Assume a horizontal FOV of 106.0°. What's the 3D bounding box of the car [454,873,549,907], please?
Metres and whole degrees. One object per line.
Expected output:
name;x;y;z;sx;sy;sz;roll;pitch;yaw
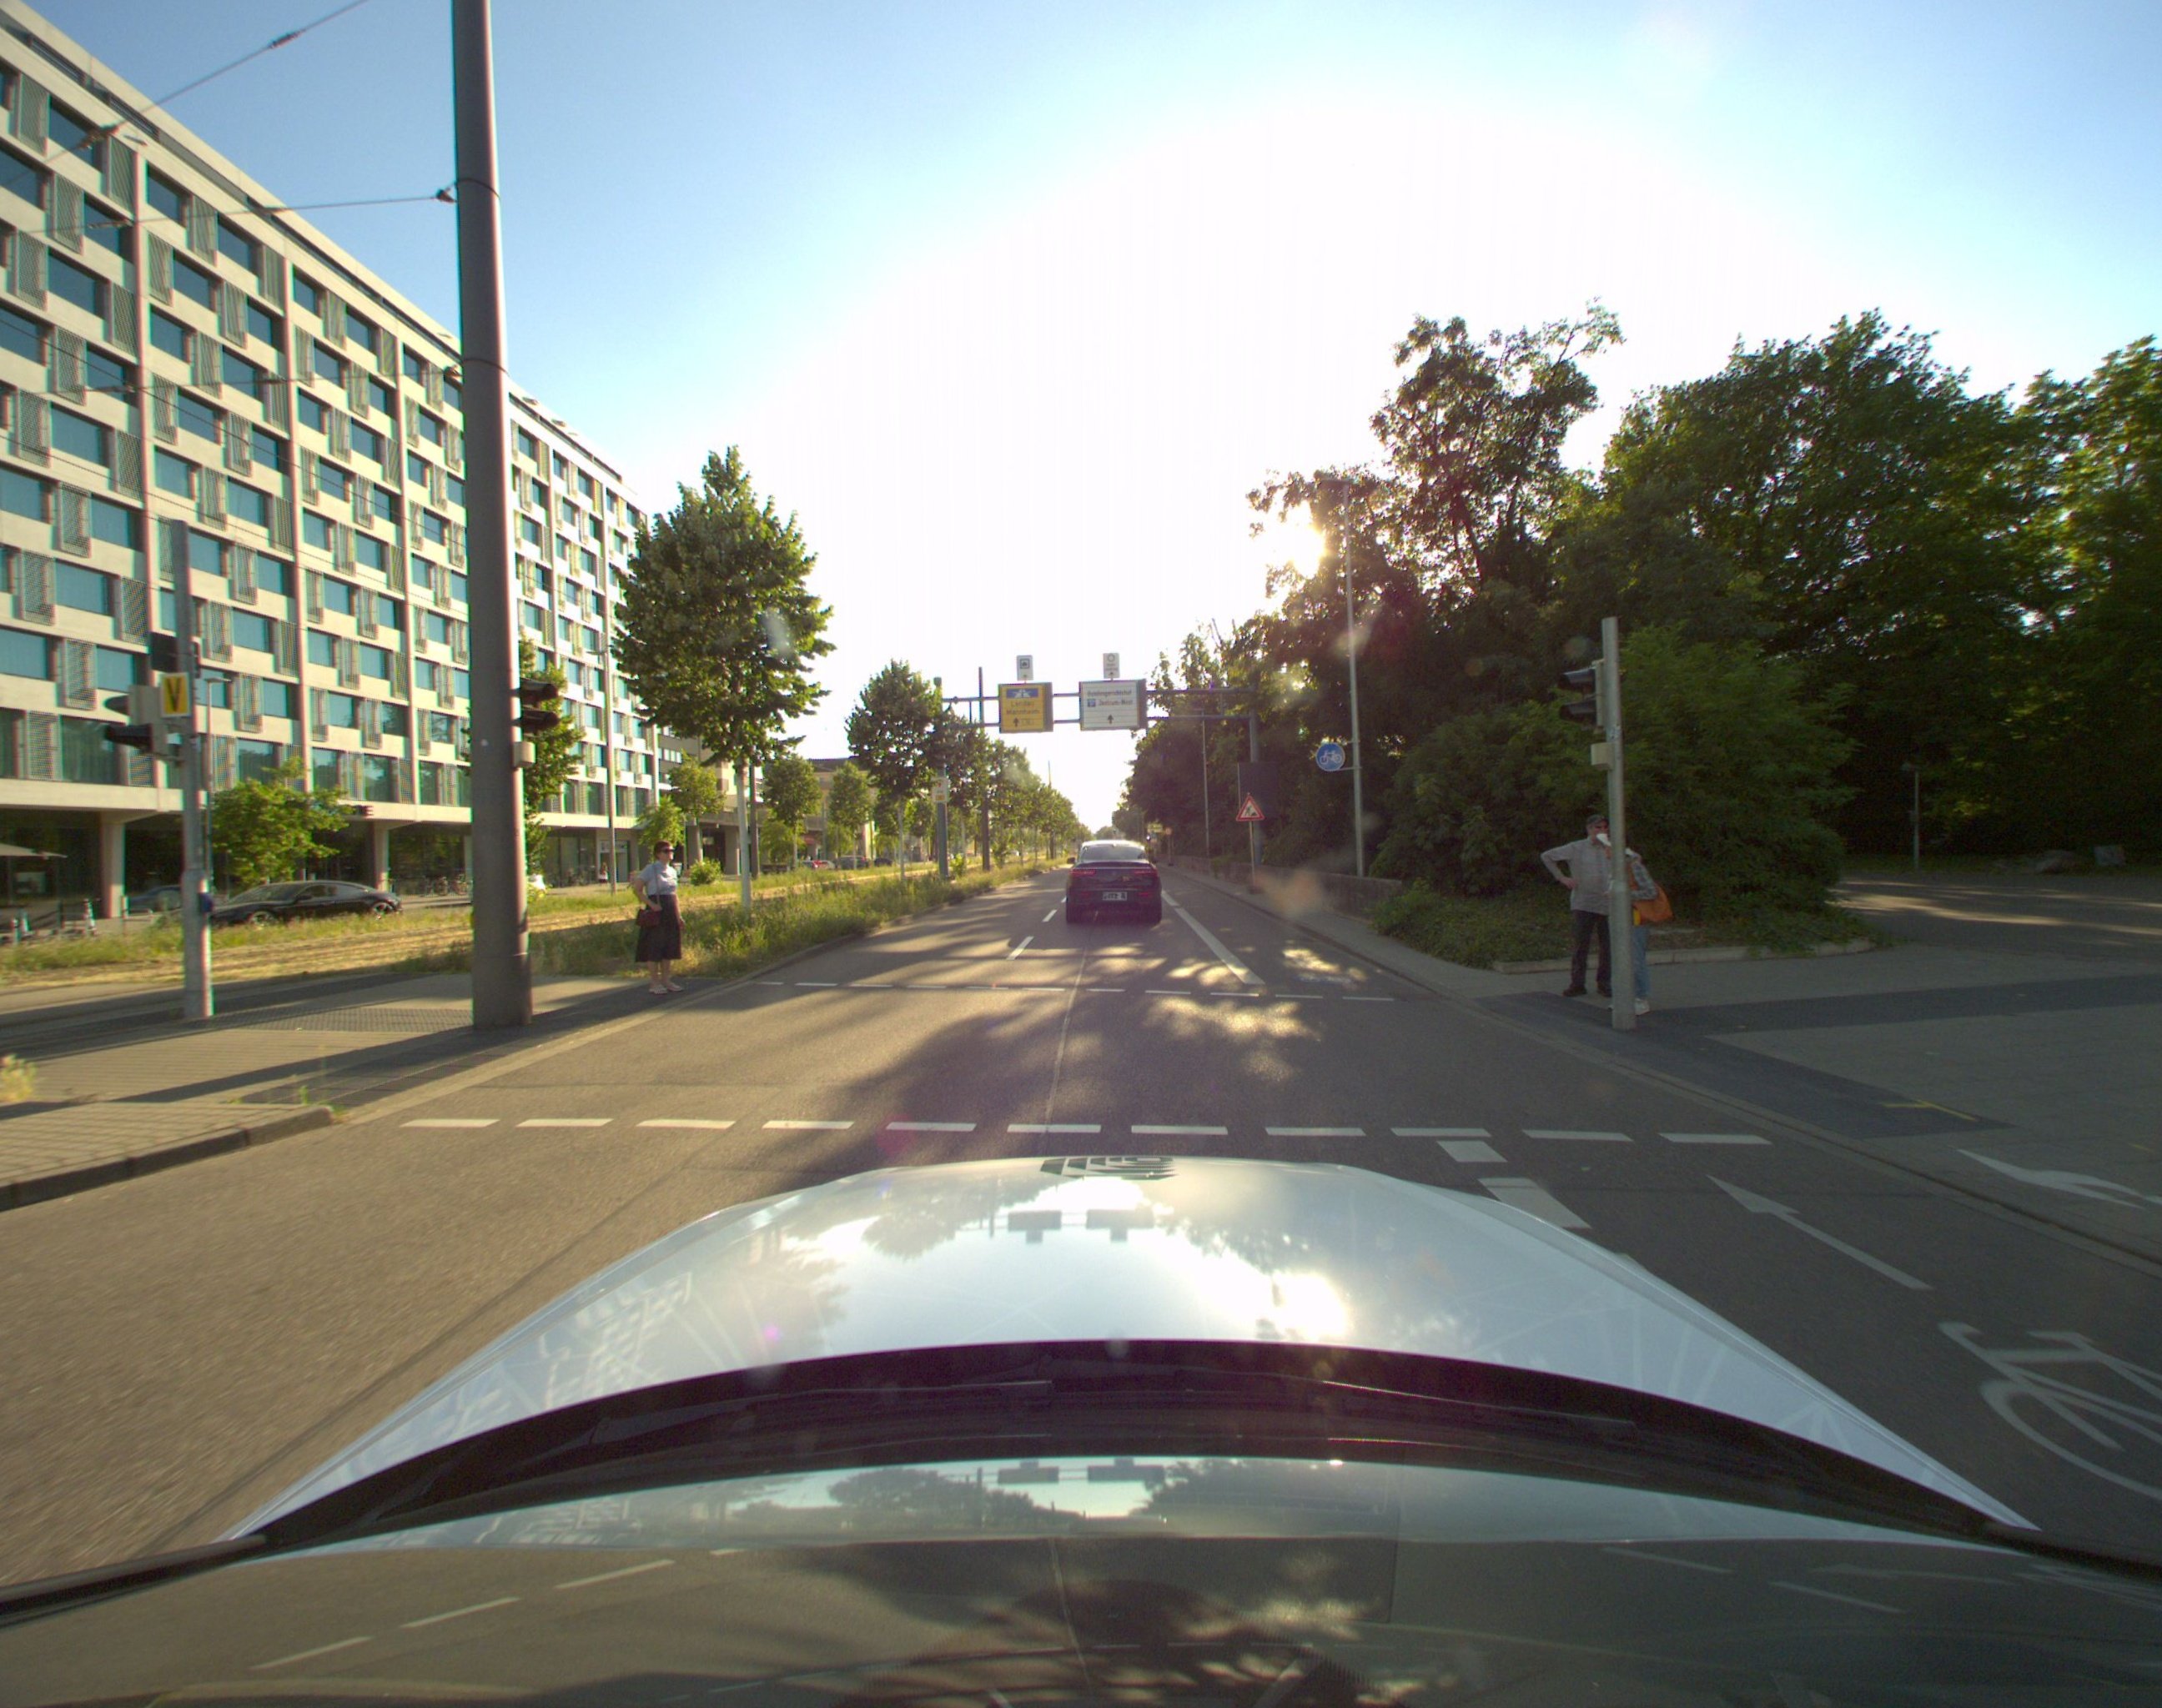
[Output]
car;-29.314;1.778;41.336;1.877;1.492;3.877;-1;0;4

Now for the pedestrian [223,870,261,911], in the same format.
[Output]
pedestrian;-39.511;1.726;38.351;0.959;1.870;0.985;-2;0;31

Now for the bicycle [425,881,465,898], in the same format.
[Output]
bicycle;-36.352;2.022;46.538;1.801;0.905;0.511;-2;0;-5

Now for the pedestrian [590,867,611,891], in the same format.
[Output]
pedestrian;-34.279;1.749;58.078;0.840;1.653;0.971;-2;0;4

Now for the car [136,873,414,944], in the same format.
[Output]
car;-19.462;1.239;20.072;1.884;1.343;4.852;-2;0;2

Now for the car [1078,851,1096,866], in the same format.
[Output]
car;0.688;0.453;93.046;1.879;1.580;4.002;-1;1;1

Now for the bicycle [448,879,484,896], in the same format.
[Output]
bicycle;-36.592;1.969;48.440;1.745;0.966;0.483;-1;0;1

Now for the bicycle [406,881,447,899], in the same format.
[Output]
bicycle;-36.644;2.004;45.607;1.801;0.905;0.511;-2;0;-5

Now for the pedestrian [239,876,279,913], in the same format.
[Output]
pedestrian;-38.310;1.873;37.972;0.966;1.670;1.065;-2;0;31

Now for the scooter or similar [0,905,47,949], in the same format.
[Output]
scooter or similar;-30.449;2.089;23.290;1.238;1.172;0.406;-2;0;2

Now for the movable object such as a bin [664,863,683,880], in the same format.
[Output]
movable object such as a bin;-35.396;1.540;70.732;0.797;1.440;1.404;-2;0;2

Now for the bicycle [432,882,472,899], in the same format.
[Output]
bicycle;-36.438;2.104;47.183;1.801;0.905;0.511;-2;0;-5

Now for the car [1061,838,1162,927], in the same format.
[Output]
car;0.744;0.556;18.239;1.985;1.734;4.004;-1;0;4

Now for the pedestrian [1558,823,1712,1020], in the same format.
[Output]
pedestrian;5.004;0.576;7.401;0.765;1.636;0.768;-4;0;-8

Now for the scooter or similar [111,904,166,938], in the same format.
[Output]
scooter or similar;-29.954;2.123;25.899;1.238;1.019;0.435;-2;0;2

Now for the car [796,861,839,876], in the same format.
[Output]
car;-28.194;1.508;87.081;1.764;1.453;4.024;0;0;44

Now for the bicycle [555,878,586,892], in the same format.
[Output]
bicycle;-35.820;2.142;57.146;1.799;0.905;0.511;-2;0;-1

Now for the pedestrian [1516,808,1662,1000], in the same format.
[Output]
pedestrian;5.193;0.478;8.346;0.863;1.802;0.898;-4;0;-33

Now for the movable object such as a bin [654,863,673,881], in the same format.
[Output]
movable object such as a bin;-36.265;1.550;70.756;0.797;1.440;1.404;-2;0;2

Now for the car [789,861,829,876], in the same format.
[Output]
car;-28.123;1.457;84.223;3.643;1.523;1.602;0;0;-39

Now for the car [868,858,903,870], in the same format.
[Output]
car;-25.878;1.333;107.672;4.020;1.563;1.977;-1;0;-40

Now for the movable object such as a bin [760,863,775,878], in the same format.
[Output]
movable object such as a bin;-28.945;1.546;75.105;0.851;1.357;0.944;-2;0;16

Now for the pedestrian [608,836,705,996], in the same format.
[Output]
pedestrian;-4.699;0.663;9.047;0.595;1.699;0.715;-2;0;7

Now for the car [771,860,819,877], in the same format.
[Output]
car;-28.294;1.459;80.613;4.116;1.601;1.730;0;0;-39

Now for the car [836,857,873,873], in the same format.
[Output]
car;-27.132;1.340;97.588;3.777;1.829;1.804;-1;0;-38

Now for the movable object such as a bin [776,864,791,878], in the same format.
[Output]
movable object such as a bin;-27.550;1.563;75.390;0.851;1.280;0.944;-2;0;16
